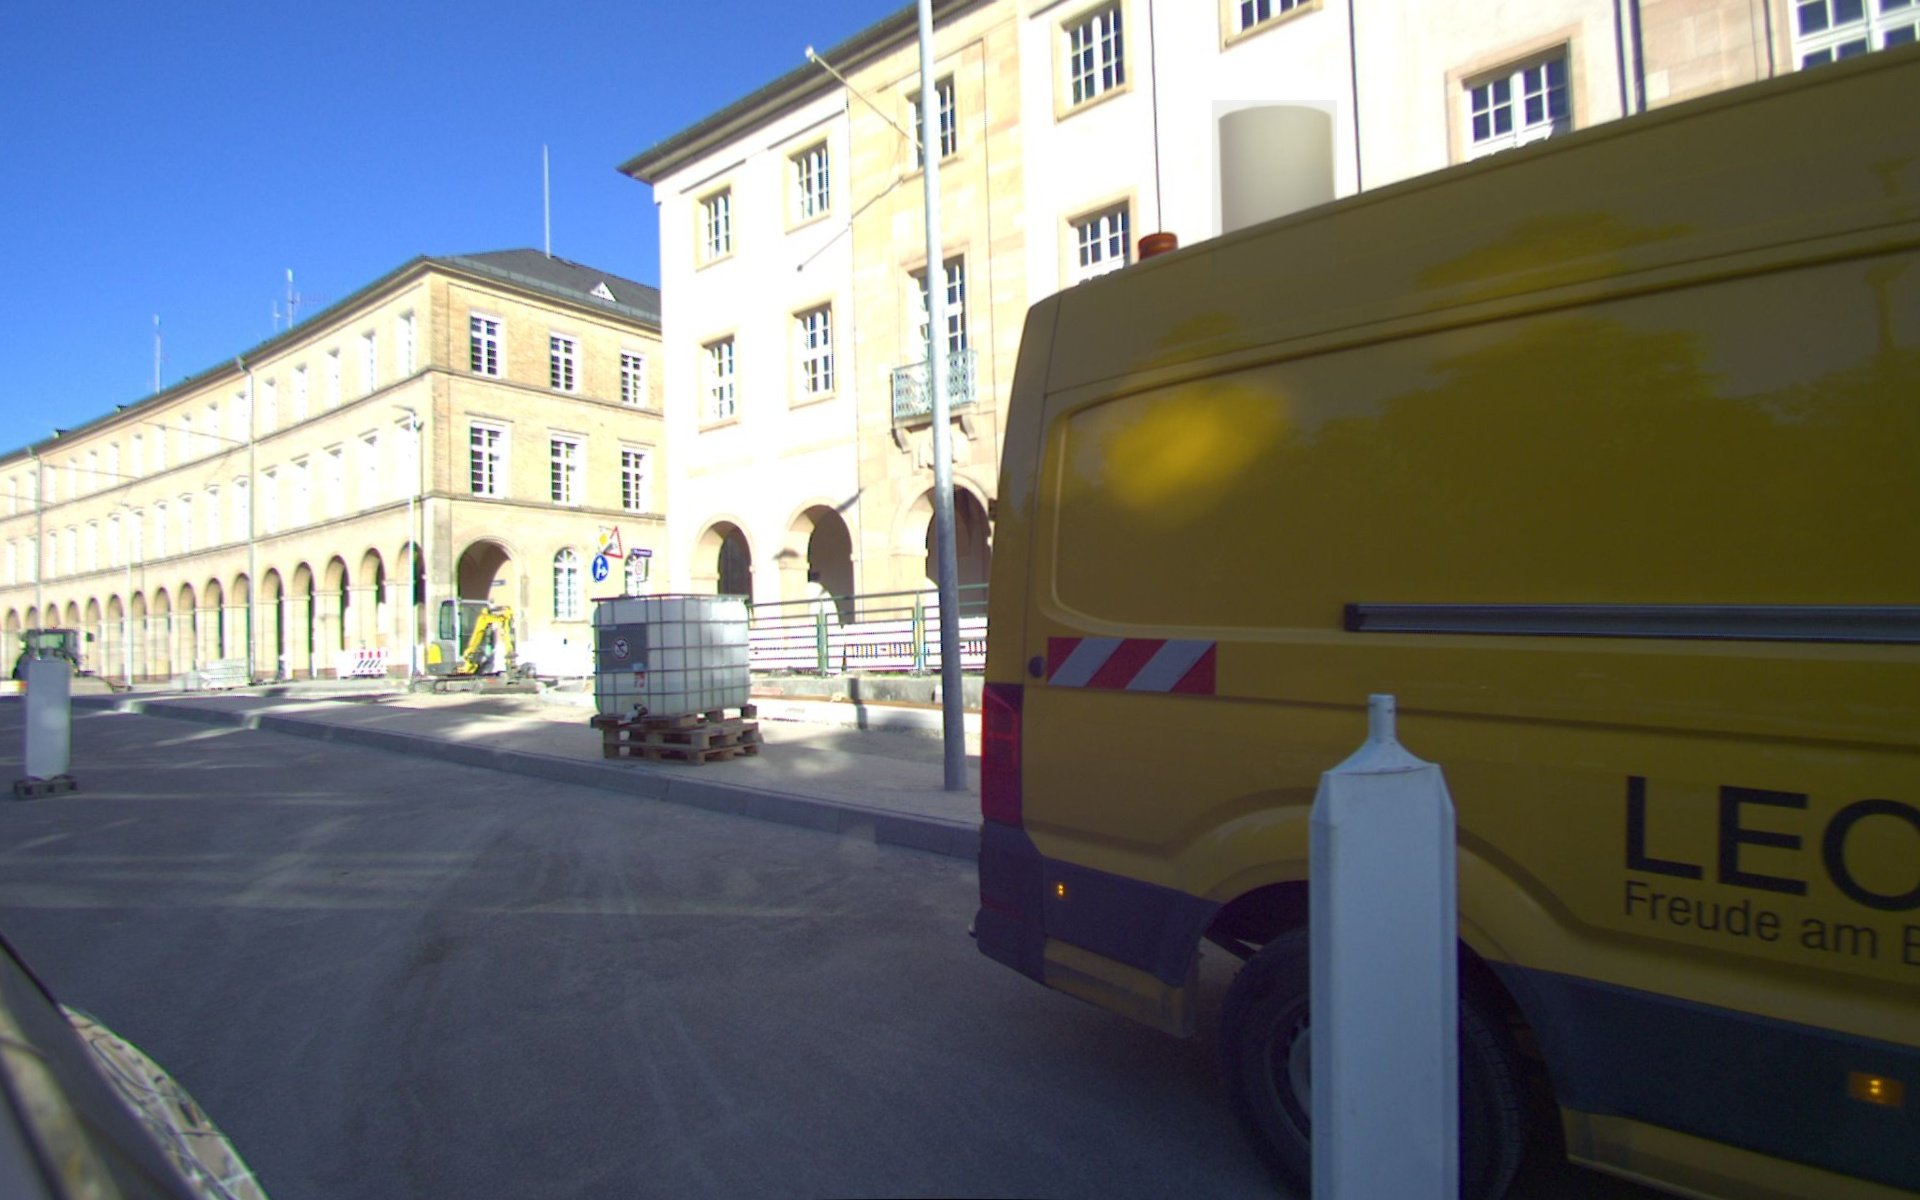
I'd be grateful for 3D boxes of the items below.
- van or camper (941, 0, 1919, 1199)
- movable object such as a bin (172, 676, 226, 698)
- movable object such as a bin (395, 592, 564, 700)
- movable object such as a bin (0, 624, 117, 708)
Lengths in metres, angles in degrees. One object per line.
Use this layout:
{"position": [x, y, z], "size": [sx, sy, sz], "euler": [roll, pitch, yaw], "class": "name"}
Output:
{"position": [3.234, 0.071, 1.631], "size": [6.822, 2.632, 2.171], "euler": [-1, 1, 42], "class": "van or camper"}
{"position": [-26.647, 3.048, 35.435], "size": [1.237, 0.703, 1.178], "euler": [-4, -4, 33], "class": "movable object such as a bin"}
{"position": [-11.811, 1.154, 24.776], "size": [4.303, 2.414, 2.078], "euler": [-3, -5, 40], "class": "movable object such as a bin"}
{"position": [-28.768, 2.121, 32.122], "size": [4.522, 2.472, 1.777], "euler": [-4, -4, 32], "class": "movable object such as a bin"}
